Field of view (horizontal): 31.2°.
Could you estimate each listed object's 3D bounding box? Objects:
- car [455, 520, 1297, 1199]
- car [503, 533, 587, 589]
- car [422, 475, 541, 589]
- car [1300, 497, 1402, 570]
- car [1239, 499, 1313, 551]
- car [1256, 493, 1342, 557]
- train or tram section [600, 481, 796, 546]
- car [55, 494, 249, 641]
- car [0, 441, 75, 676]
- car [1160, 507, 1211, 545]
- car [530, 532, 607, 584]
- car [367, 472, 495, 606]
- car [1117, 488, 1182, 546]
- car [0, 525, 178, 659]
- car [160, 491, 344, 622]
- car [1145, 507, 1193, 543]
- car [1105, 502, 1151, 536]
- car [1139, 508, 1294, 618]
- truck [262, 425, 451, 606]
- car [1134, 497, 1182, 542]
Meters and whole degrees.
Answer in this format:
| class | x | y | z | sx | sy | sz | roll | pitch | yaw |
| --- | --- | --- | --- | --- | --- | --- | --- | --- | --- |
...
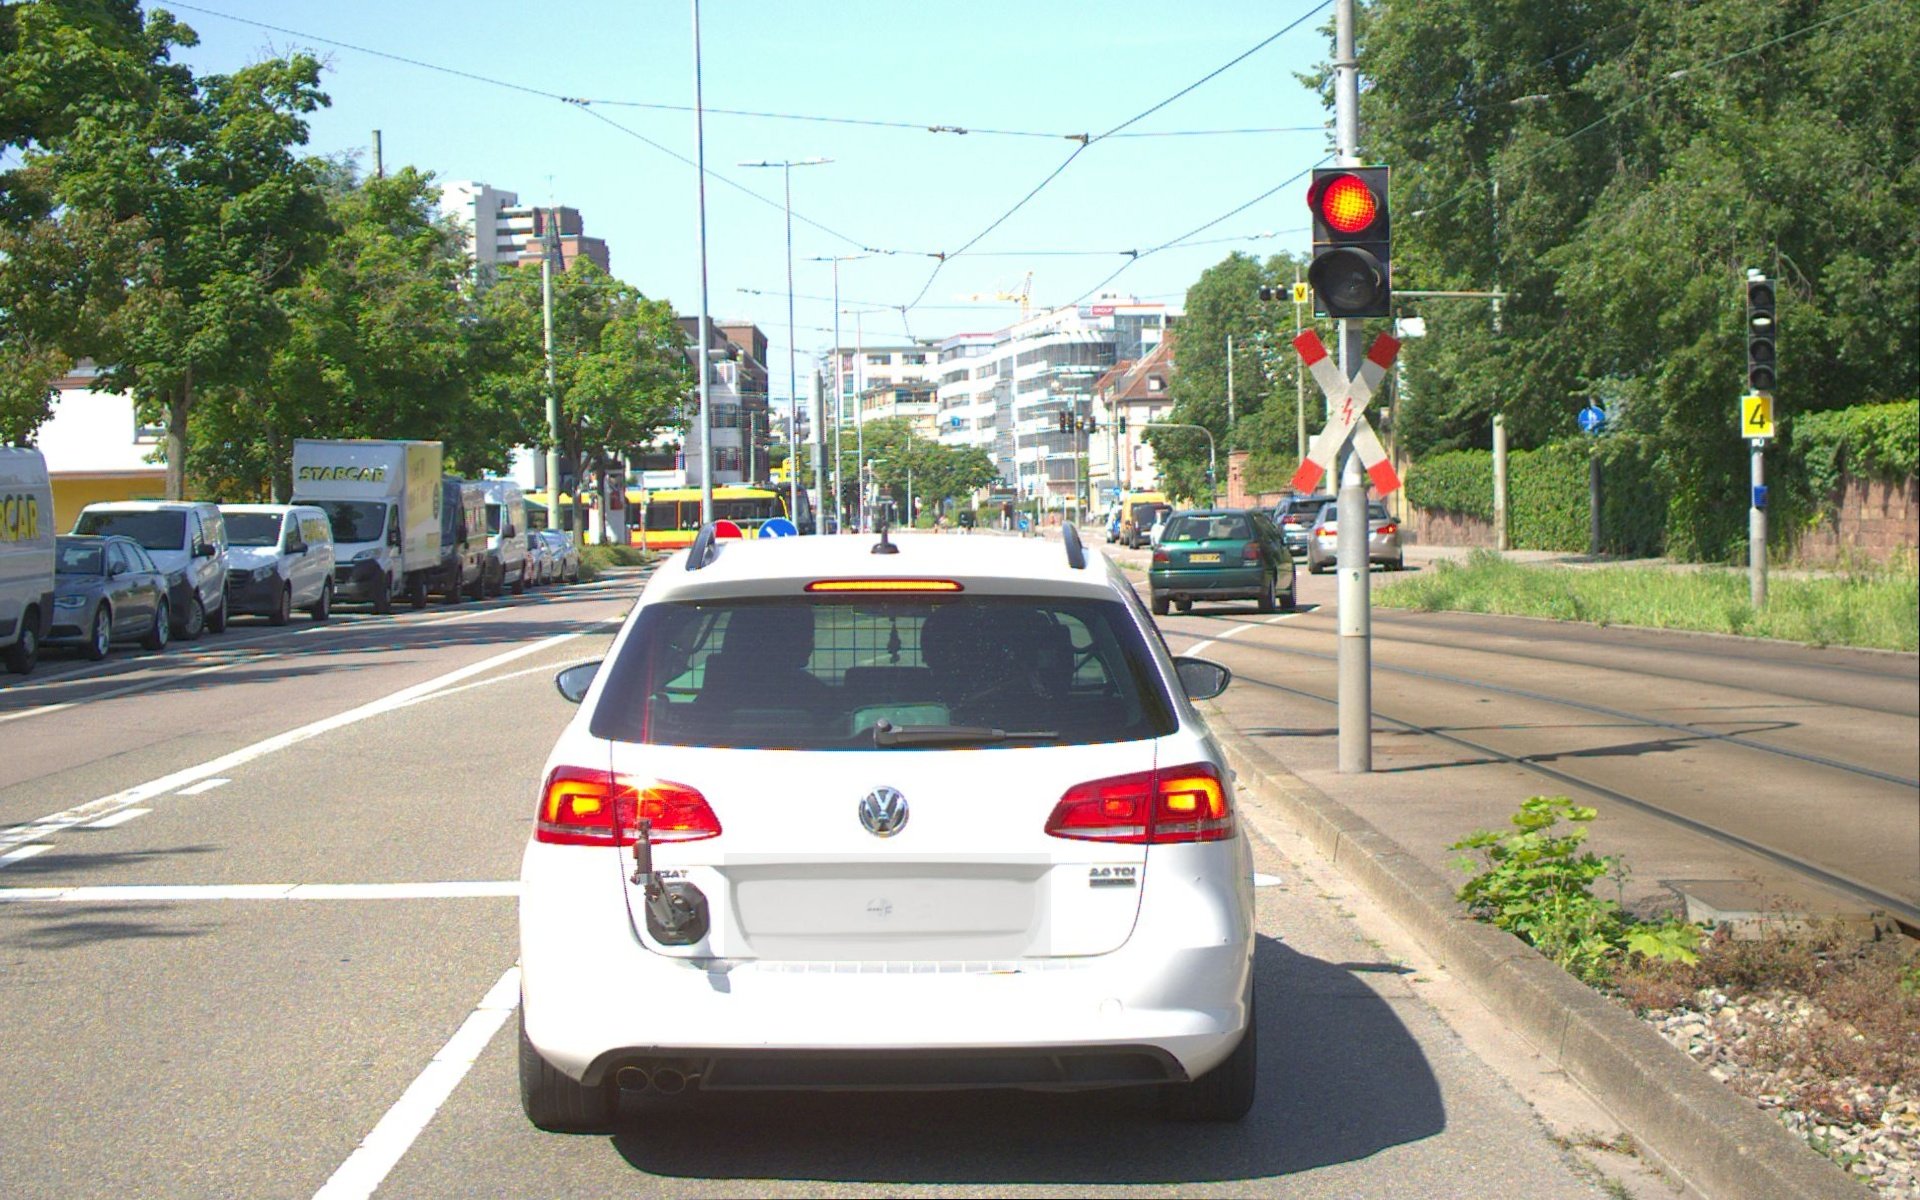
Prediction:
| class | x | y | z | sx | sy | sz | roll | pitch | yaw |
| --- | --- | --- | --- | --- | --- | --- | --- | --- | --- |
| car | -0.224 | 0.526 | 9.247 | 1.768 | 1.441 | 3.913 | 1 | 2 | -1 |
| car | -11.523 | -1.103 | 95.599 | 1.843 | 1.428 | 4.038 | -2 | 2 | 0 |
| car | -10.993 | -1.593 | 79.326 | 1.843 | 2.486 | 5.857 | -2 | 2 | 0 |
| car | 8.048 | -1.380 | 70.480 | 1.862 | 1.412 | 4.323 | 1 | 2 | 9 |
| car | 8.831 | -2.099 | 96.296 | 1.746 | 1.402 | 3.913 | 1 | 2 | 1 |
| car | 8.342 | -1.853 | 84.805 | 1.861 | 1.507 | 3.913 | 1 | 2 | 2 |
| train or tram section | -13.669 | -4.502 | 178.413 | 11.261 | 3.241 | 2.304 | 1 | 1 | 36 |
| car | -11.414 | -0.504 | 48.872 | 1.843 | 1.930 | 5.195 | -2 | 2 | -4 |
| car | -11.205 | -0.445 | 35.892 | 2.059 | 2.492 | 6.307 | 1 | 2 | 2 |
| car | 8.162 | -2.679 | 124.573 | 1.581 | 1.341 | 3.454 | 1 | 1 | -1 |
| car | -11.364 | -1.234 | 99.946 | 1.780 | 1.428 | 4.038 | -2 | 2 | 0 |
| car | -11.004 | -1.302 | 71.818 | 1.843 | 2.659 | 5.003 | -2 | 2 | 0 |
| car | 8.412 | -3.679 | 153.419 | 2.463 | 2.490 | 5.911 | 1 | 1 | -1 |
| car | -10.988 | -0.129 | 42.117 | 1.843 | 1.511 | 4.197 | -2 | 2 | 0 |
| car | -11.322 | -0.735 | 55.305 | 1.843 | 1.954 | 5.134 | -2 | 2 | 0 |
| car | 8.105 | -2.914 | 133.364 | 1.581 | 1.341 | 3.454 | 1 | 1 | -1 |
| car | 8.085 | -3.892 | 165.304 | 1.993 | 1.590 | 4.000 | 1 | 1 | 0 |
| car | 3.450 | -0.525 | 45.705 | 1.746 | 1.383 | 3.912 | 1 | 2 | 9 |
| truck | -11.098 | -1.575 | 63.798 | 2.356 | 3.112 | 6.892 | -2 | 2 | -1 |
| car | 8.161 | -3.321 | 141.790 | 1.691 | 1.806 | 3.454 | 1 | 1 | -1 |
